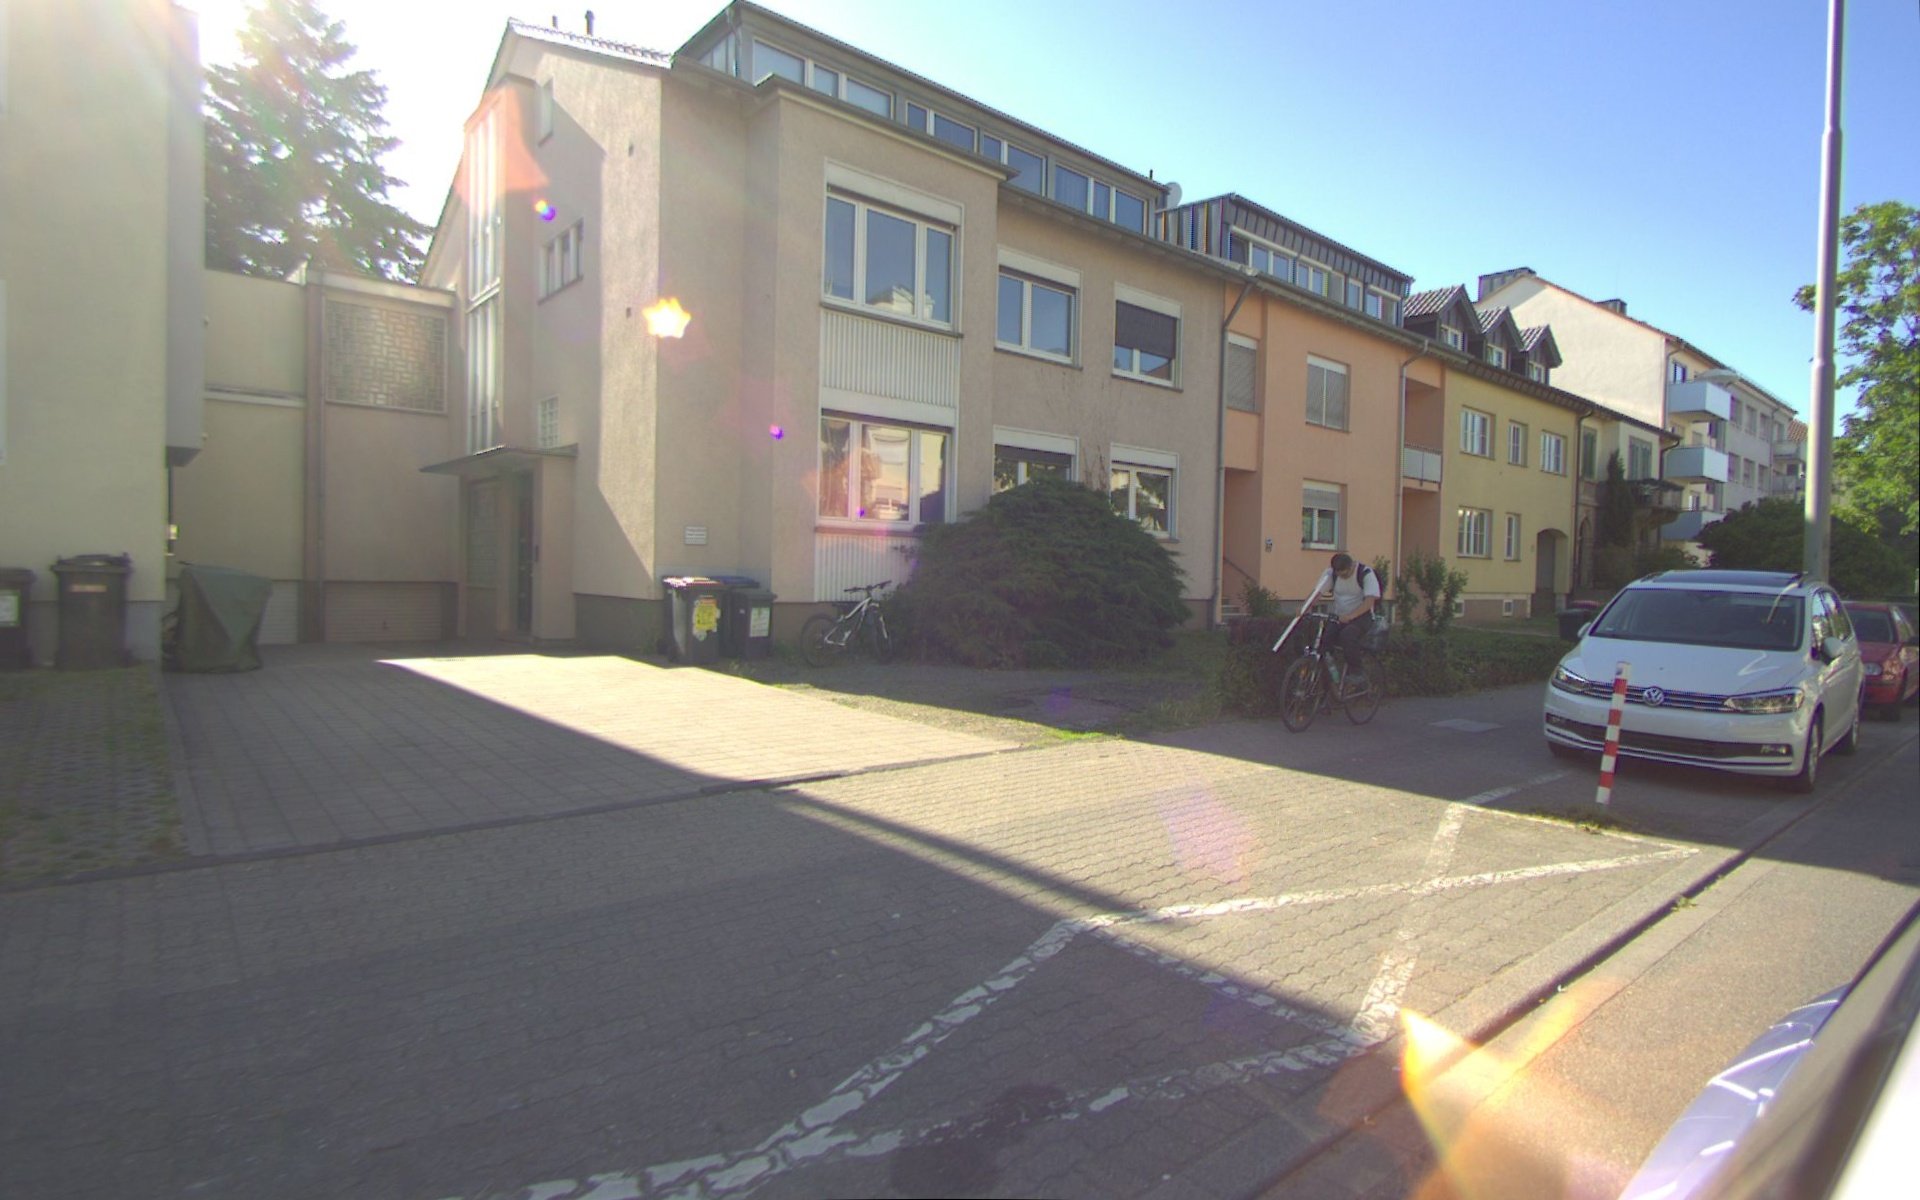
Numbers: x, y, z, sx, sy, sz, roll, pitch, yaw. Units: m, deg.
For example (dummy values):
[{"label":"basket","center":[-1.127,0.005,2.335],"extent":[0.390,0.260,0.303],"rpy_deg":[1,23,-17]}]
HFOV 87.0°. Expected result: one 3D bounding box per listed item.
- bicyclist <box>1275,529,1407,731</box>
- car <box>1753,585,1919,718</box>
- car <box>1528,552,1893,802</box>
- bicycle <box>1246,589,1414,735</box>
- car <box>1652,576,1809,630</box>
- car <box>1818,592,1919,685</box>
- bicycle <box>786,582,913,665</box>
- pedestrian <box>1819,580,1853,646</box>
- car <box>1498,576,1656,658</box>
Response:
[{"label":"bicyclist","center":[3.655,0.251,9.706],"extent":[0.998,1.815,0.725],"rpy_deg":[0,2,-41]},{"label":"car","center":[11.838,0.583,13.354],"extent":[3.654,1.467,1.534],"rpy_deg":[0,2,-42]},{"label":"car","center":[6.817,0.495,9.005],"extent":[4.267,1.679,1.772],"rpy_deg":[0,3,-42]},{"label":"bicycle","center":[3.609,0.542,9.802],"extent":[1.790,1.262,0.699],"rpy_deg":[0,3,-41]},{"label":"car","center":[26.832,0.065,35.335],"extent":[1.799,1.458,3.998],"rpy_deg":[0,5,-40]},{"label":"car","center":[15.685,0.588,16.877],"extent":[3.653,1.372,1.535],"rpy_deg":[0,2,-41]},{"label":"bicycle","center":[-1.446,0.281,13.470],"extent":[1.713,1.004,0.456],"rpy_deg":[-2,5,-41]},{"label":"pedestrian","center":[23.078,0.335,26.653],"extent":[0.485,1.698,0.539],"rpy_deg":[0,2,-40]},{"label":"car","center":[12.107,0.286,19.776],"extent":[3.653,1.372,1.535],"rpy_deg":[0,4,-41]}]
